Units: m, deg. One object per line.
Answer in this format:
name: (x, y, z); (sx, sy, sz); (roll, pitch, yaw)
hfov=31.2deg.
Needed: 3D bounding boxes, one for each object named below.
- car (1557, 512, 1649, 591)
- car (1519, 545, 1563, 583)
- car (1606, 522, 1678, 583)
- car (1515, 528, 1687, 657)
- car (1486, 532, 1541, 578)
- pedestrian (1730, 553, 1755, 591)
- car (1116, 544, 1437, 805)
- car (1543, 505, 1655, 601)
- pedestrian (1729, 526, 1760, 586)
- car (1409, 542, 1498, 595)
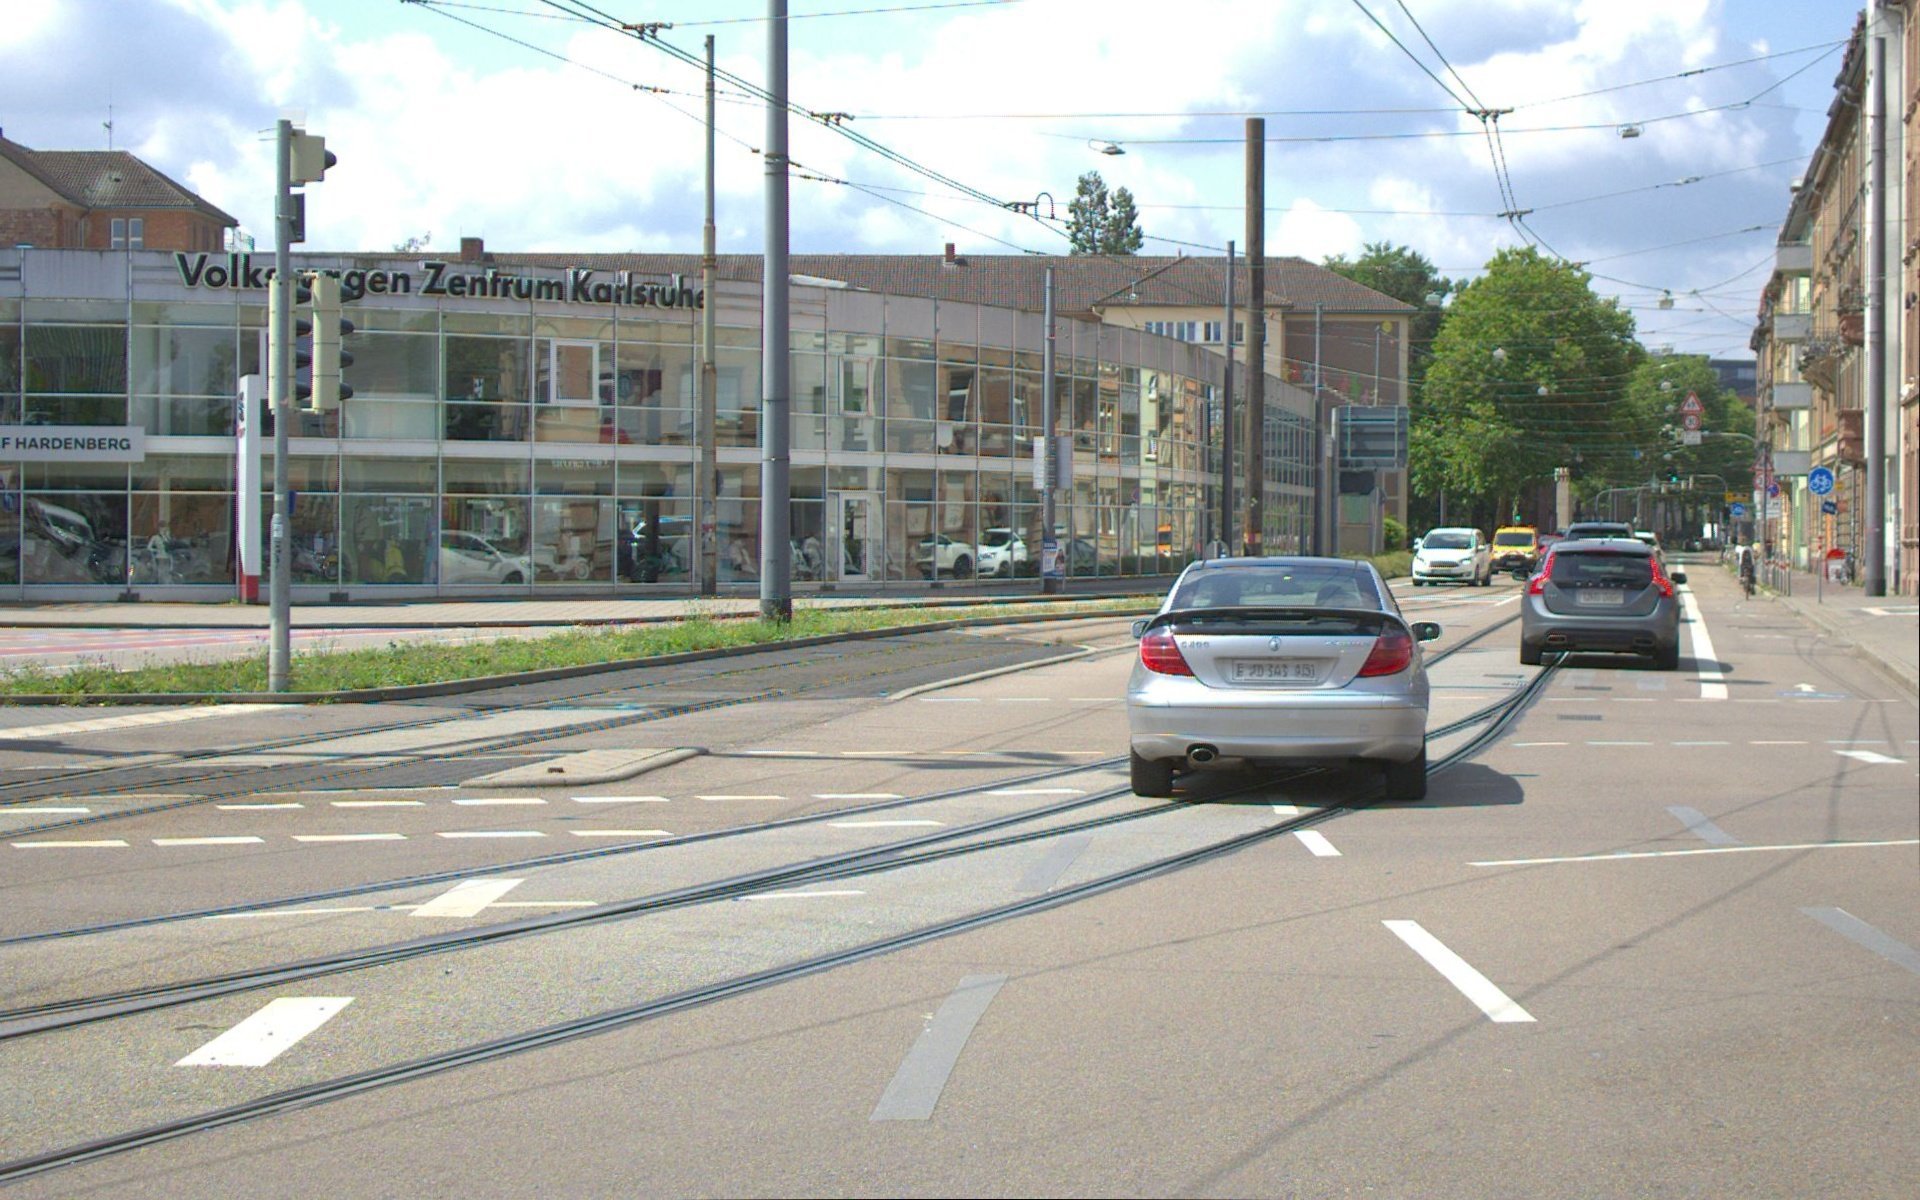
car: (13.992, -1.068, 74.702); (1.882, 1.635, 3.955); (1, 1, 11)
car: (26.844, -1.693, 158.797); (1.882, 1.687, 3.955); (1, 1, 11)
car: (18.677, -1.315, 94.159); (1.882, 1.635, 3.955); (1, 1, 11)
car: (7.549, -0.127, 40.530); (1.882, 1.414, 3.955); (1, 1, 10)
car: (20.841, -1.703, 129.437); (1.882, 1.687, 3.955); (1, 1, 11)
pedestrian: (19.067, -0.673, 83.794); (0.525, 0.903, 1.560); (1, 0, 11)
car: (2.011, 0.371, 20.941); (1.742, 1.387, 4.178); (1, 1, 8)
car: (11.430, -0.860, 61.489); (1.882, 1.635, 3.955); (1, 1, 11)
pedestrian: (19.161, -1.067, 83.946); (0.692, 1.452, 0.679); (1, 0, 11)
car: (14.008, -0.909, 97.427); (1.883, 1.414, 3.954); (1, 1, 17)
